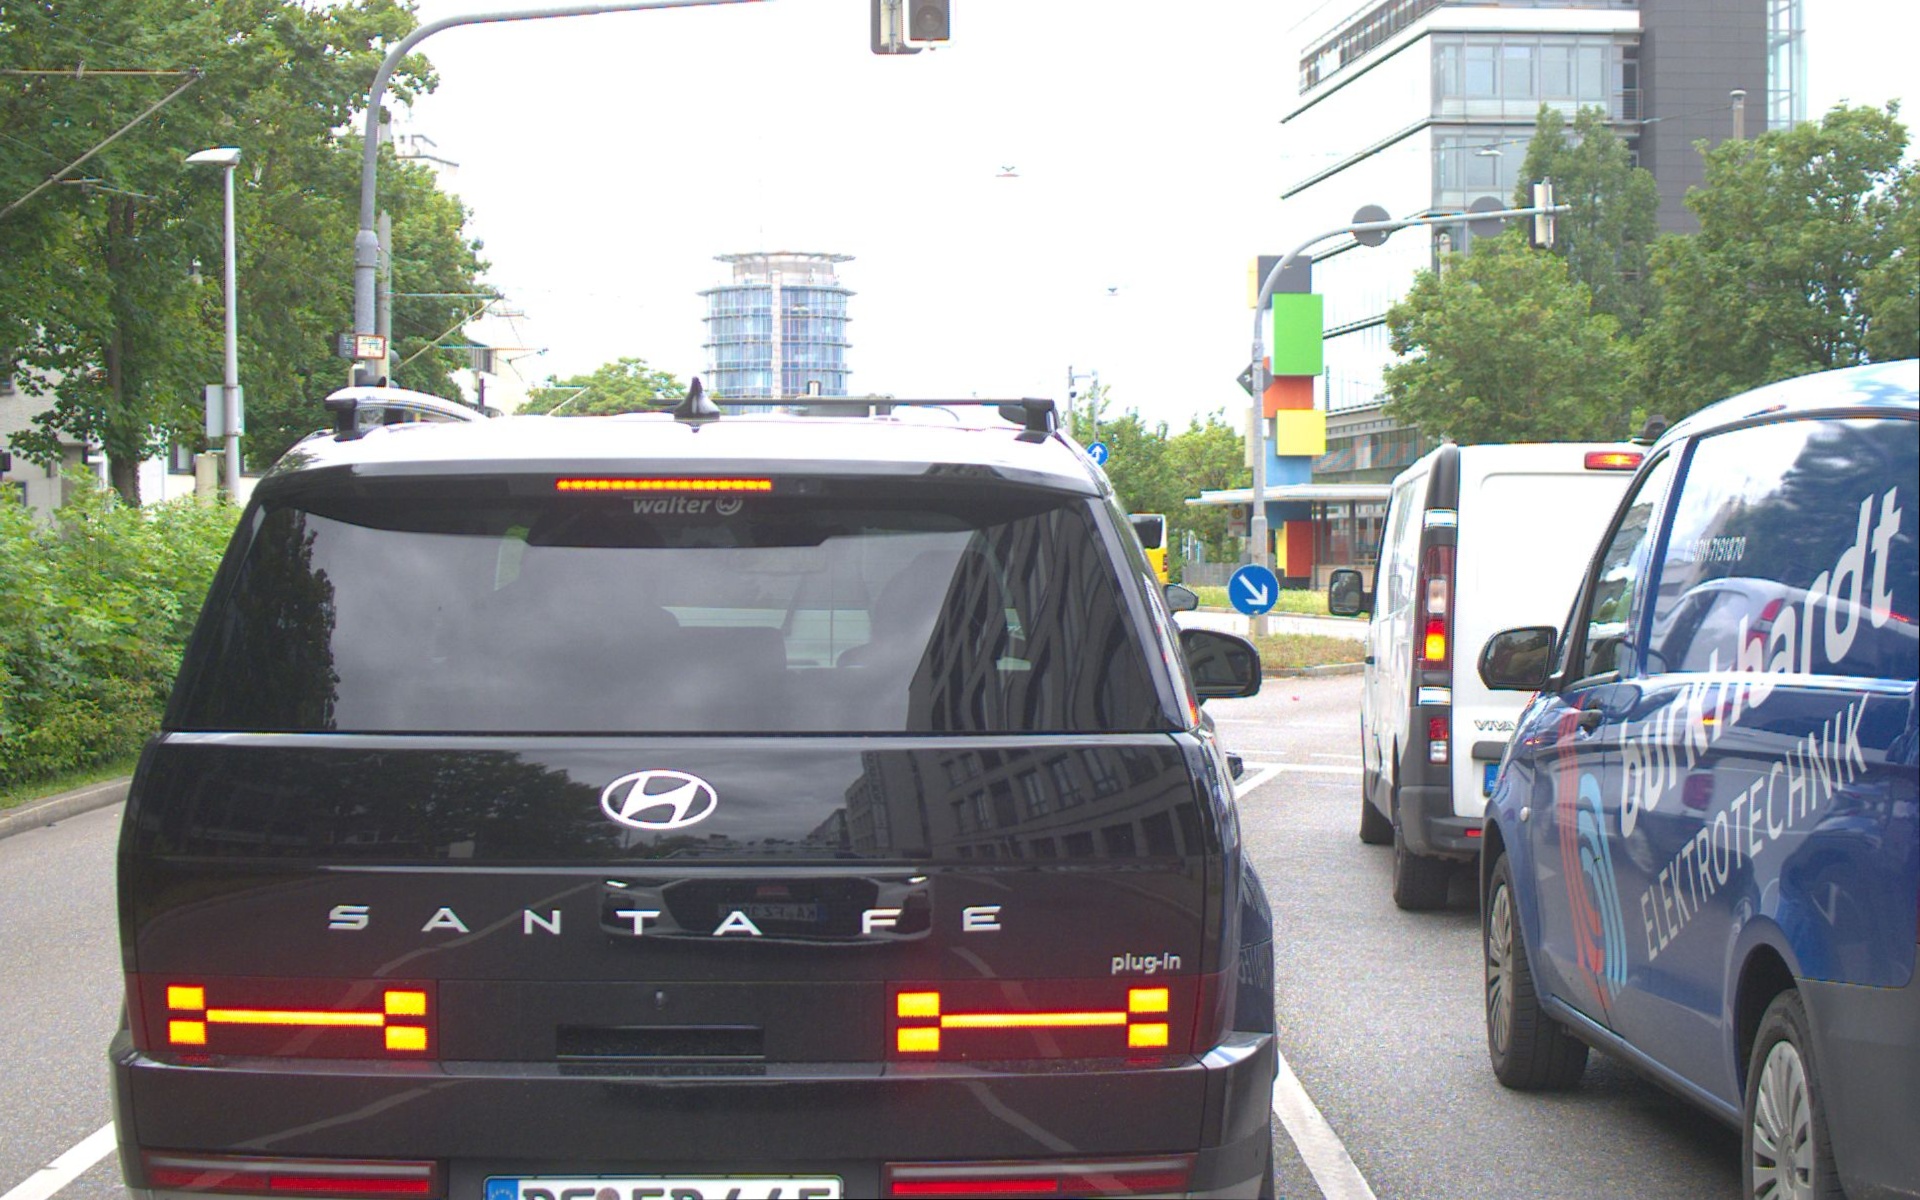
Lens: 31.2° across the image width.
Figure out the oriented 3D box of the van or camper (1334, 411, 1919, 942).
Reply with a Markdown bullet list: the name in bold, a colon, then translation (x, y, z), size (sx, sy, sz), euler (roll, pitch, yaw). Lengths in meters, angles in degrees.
- **van or camper**: translation (2.820, 0.248, 15.439), size (1.994, 2.007, 4.652), euler (1, 1, 3)

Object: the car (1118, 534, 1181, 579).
- **car**: translation (7.255, -1.642, 131.815), size (1.993, 1.678, 4.000), euler (0, 0, -3)

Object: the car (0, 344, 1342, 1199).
- **car**: translation (-0.429, 0.496, 6.657), size (1.869, 1.754, 3.880), euler (0, 1, -1)

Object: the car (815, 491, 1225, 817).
- **car**: translation (0.474, 0.268, 20.425), size (1.776, 1.711, 4.337), euler (1, 0, 10)

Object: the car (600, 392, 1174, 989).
- **car**: translation (-0.267, 0.270, 13.465), size (1.915, 1.996, 3.880), euler (0, 1, -1)

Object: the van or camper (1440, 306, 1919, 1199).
- **van or camper**: translation (2.393, 0.449, 7.783), size (1.859, 1.904, 5.032), euler (0, 1, -1)

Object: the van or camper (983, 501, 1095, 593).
- **van or camper**: translation (2.299, -1.478, 98.185), size (1.994, 2.538, 6.575), euler (1, 0, 12)

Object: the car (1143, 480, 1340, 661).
- **car**: translation (3.246, -0.344, 40.345), size (1.993, 2.007, 4.000), euler (0, 0, 1)
